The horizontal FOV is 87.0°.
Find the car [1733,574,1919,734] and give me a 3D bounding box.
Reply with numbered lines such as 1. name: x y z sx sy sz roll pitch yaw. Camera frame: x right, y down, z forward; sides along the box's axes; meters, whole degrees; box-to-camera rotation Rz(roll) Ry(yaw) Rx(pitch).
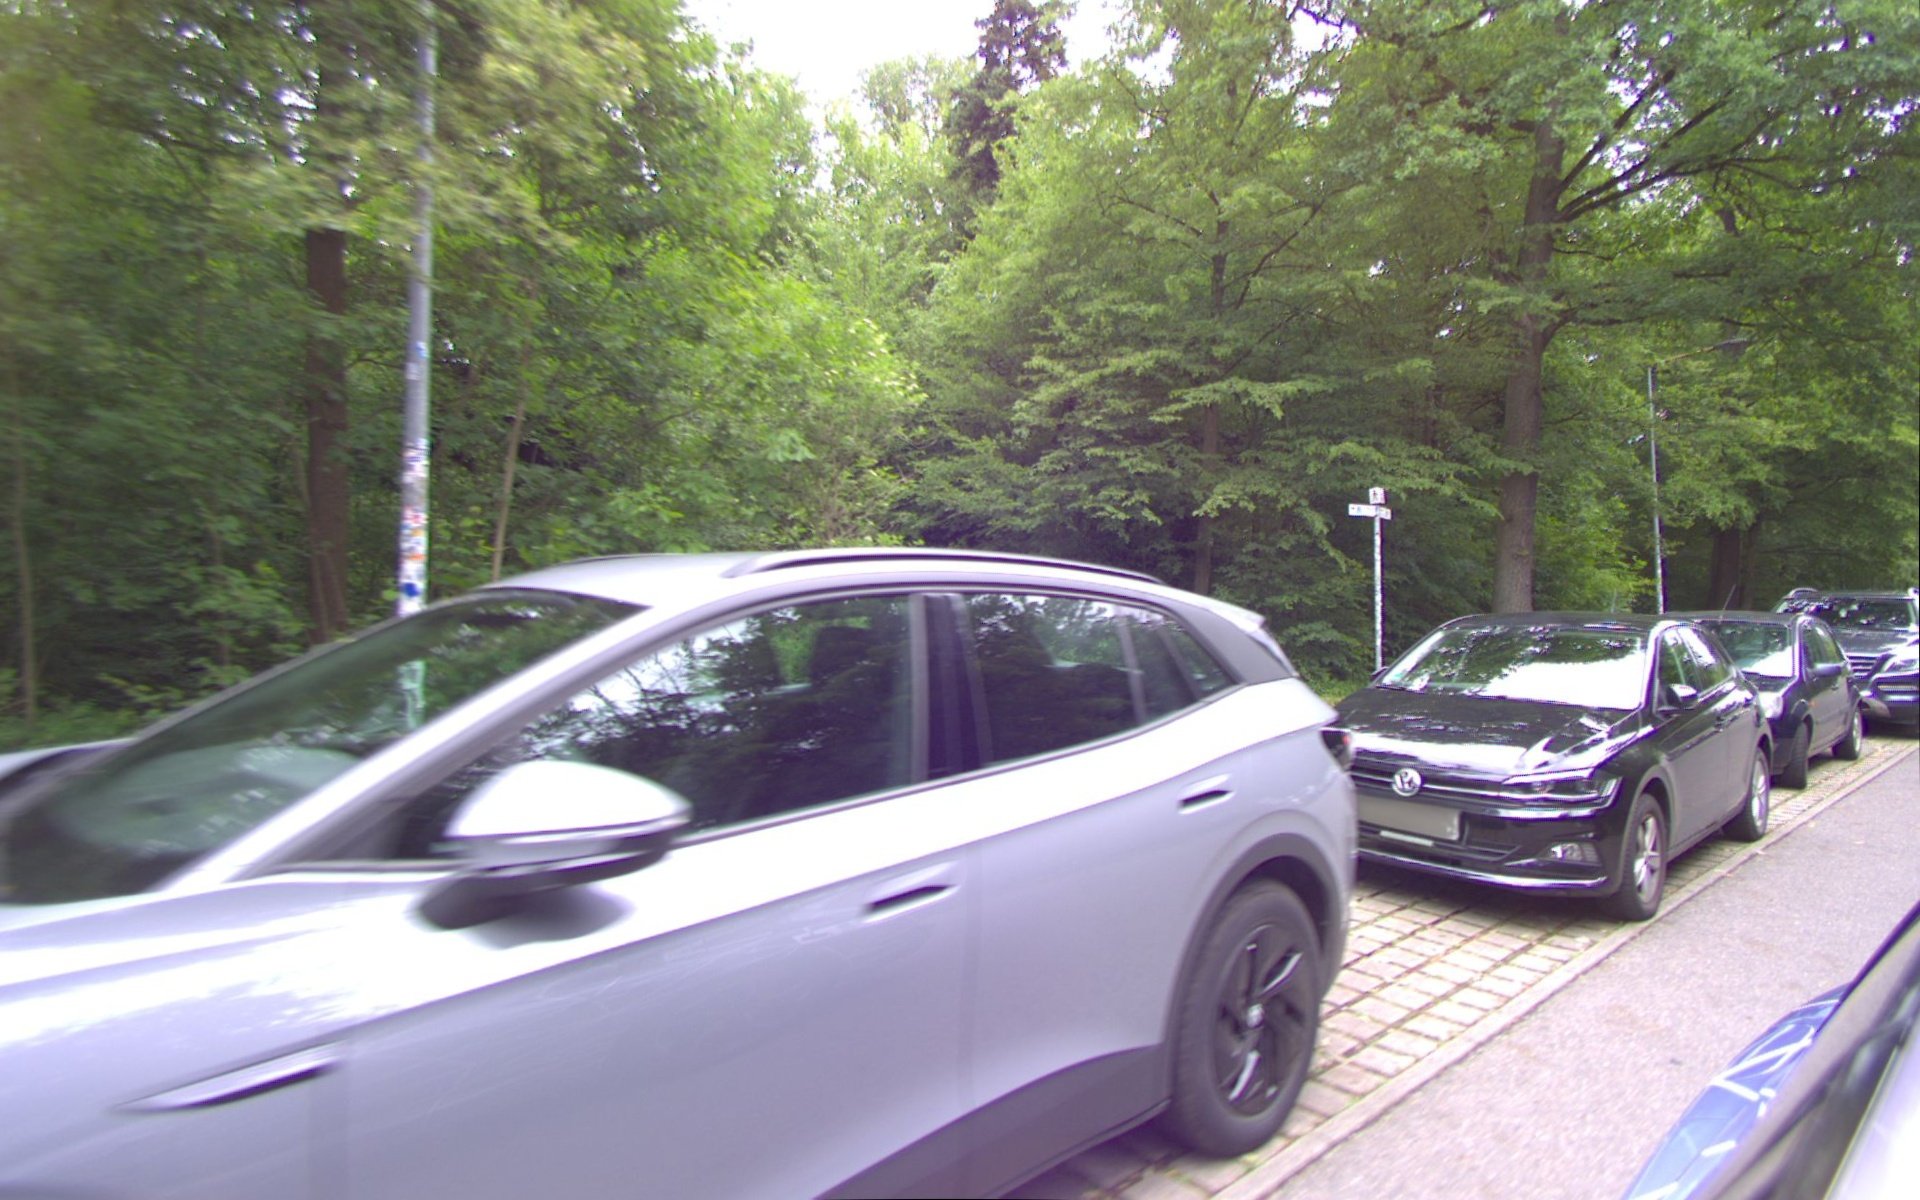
1. car: 11.704 0.590 13.033 4.406 1.745 1.908 0 0 -41

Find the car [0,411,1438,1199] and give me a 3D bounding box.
1. car: -0.615 0.612 2.653 4.405 1.607 1.904 0 0 -43

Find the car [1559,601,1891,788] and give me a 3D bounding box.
1. car: 7.561 0.733 9.857 4.115 1.444 1.749 0 0 -41

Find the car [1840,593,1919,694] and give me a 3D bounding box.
1. car: 16.163 0.670 16.876 3.892 1.557 1.704 0 0 -41

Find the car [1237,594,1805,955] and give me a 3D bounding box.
1. car: 3.588 0.718 6.160 3.930 1.460 1.823 0 1 -41
